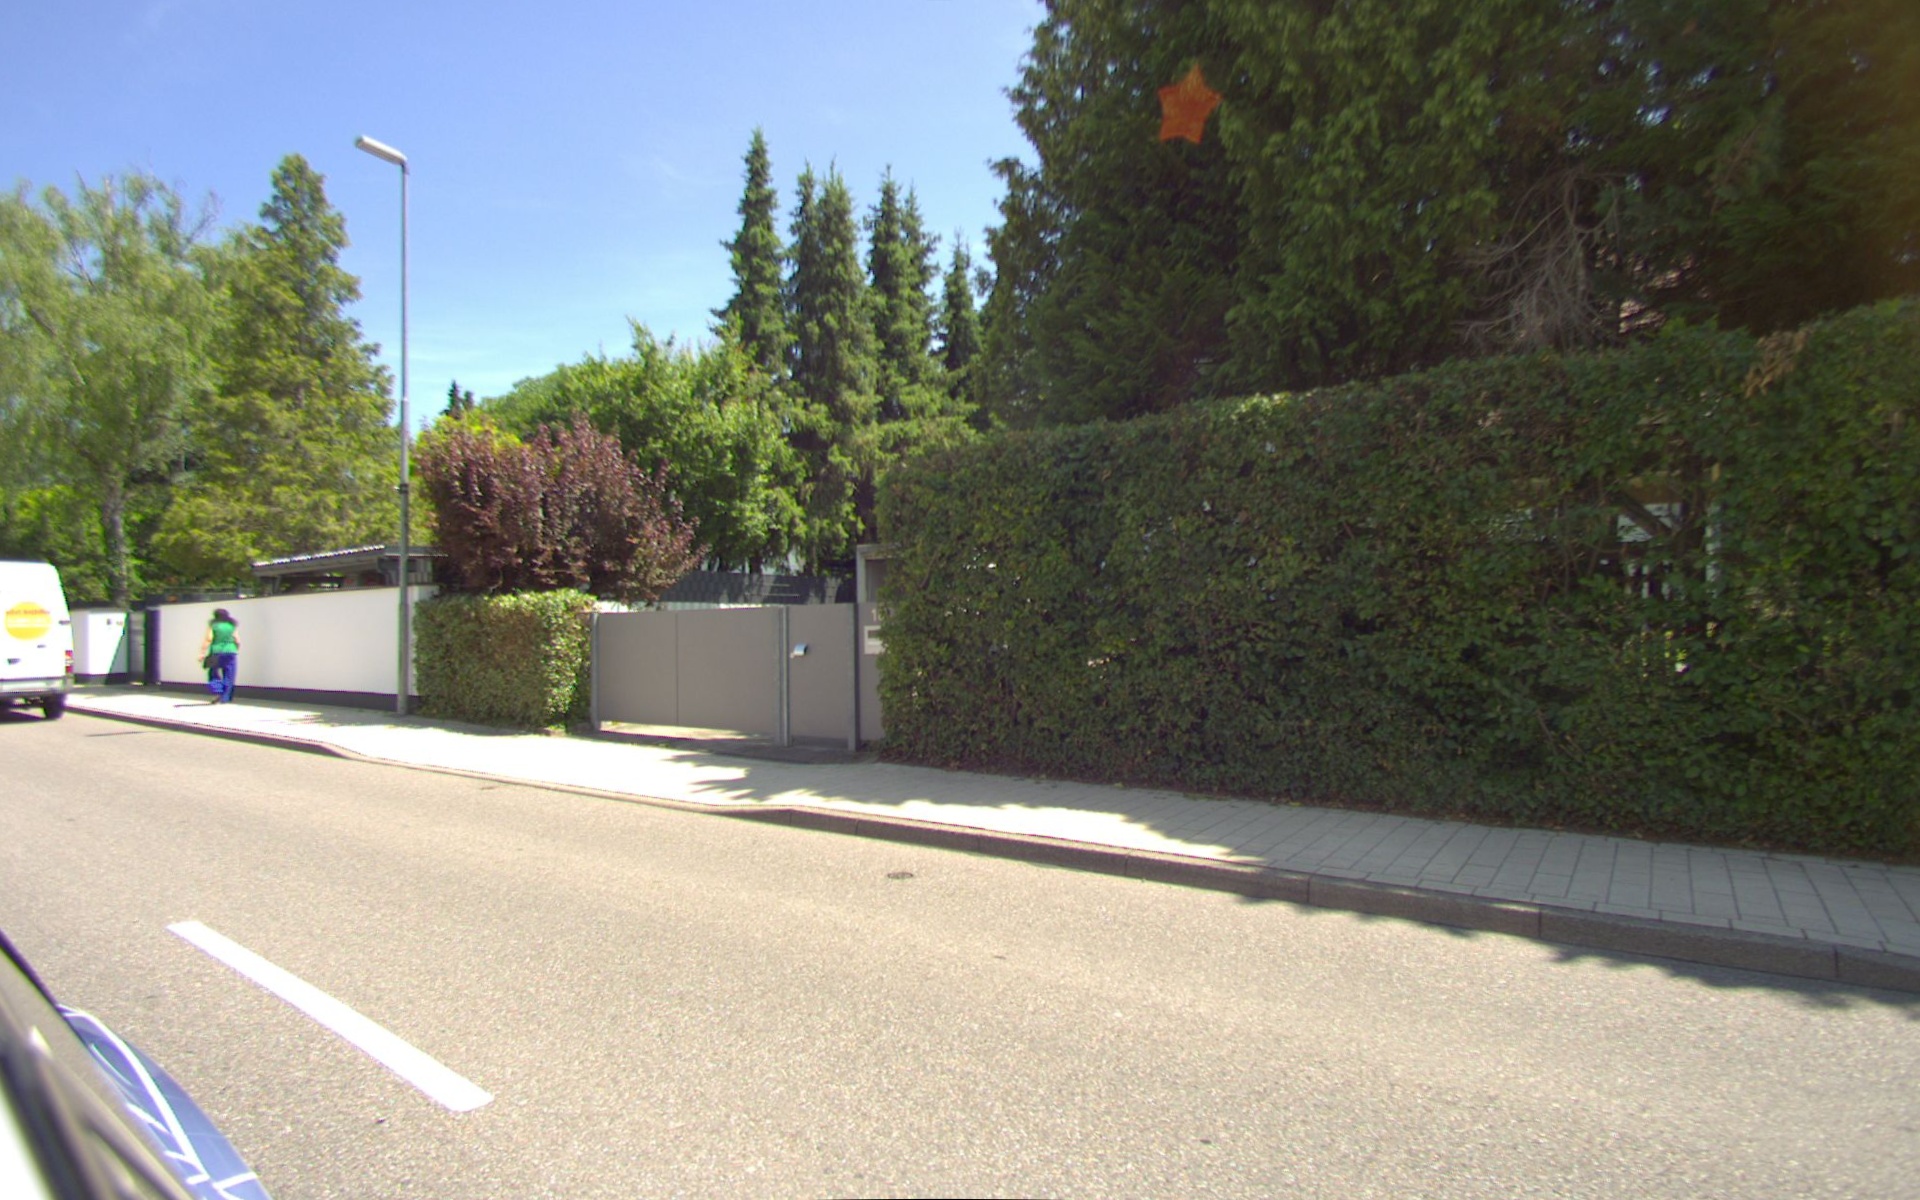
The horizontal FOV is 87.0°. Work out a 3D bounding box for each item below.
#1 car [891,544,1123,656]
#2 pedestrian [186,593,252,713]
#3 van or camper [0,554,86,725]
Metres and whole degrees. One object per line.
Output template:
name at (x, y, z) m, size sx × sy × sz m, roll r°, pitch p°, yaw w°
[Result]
car at (1.048, -0.009, 19.835) m, size 2.159 × 1.908 × 4.754 m, roll -1°, pitch 0°, yaw 39°
pedestrian at (-12.983, 0.905, 17.733) m, size 0.802 × 2.029 × 0.714 m, roll -1°, pitch 0°, yaw 35°
van or camper at (-17.606, 0.694, 17.886) m, size 5.813 × 2.734 × 2.019 m, roll -2°, pitch -2°, yaw 36°
